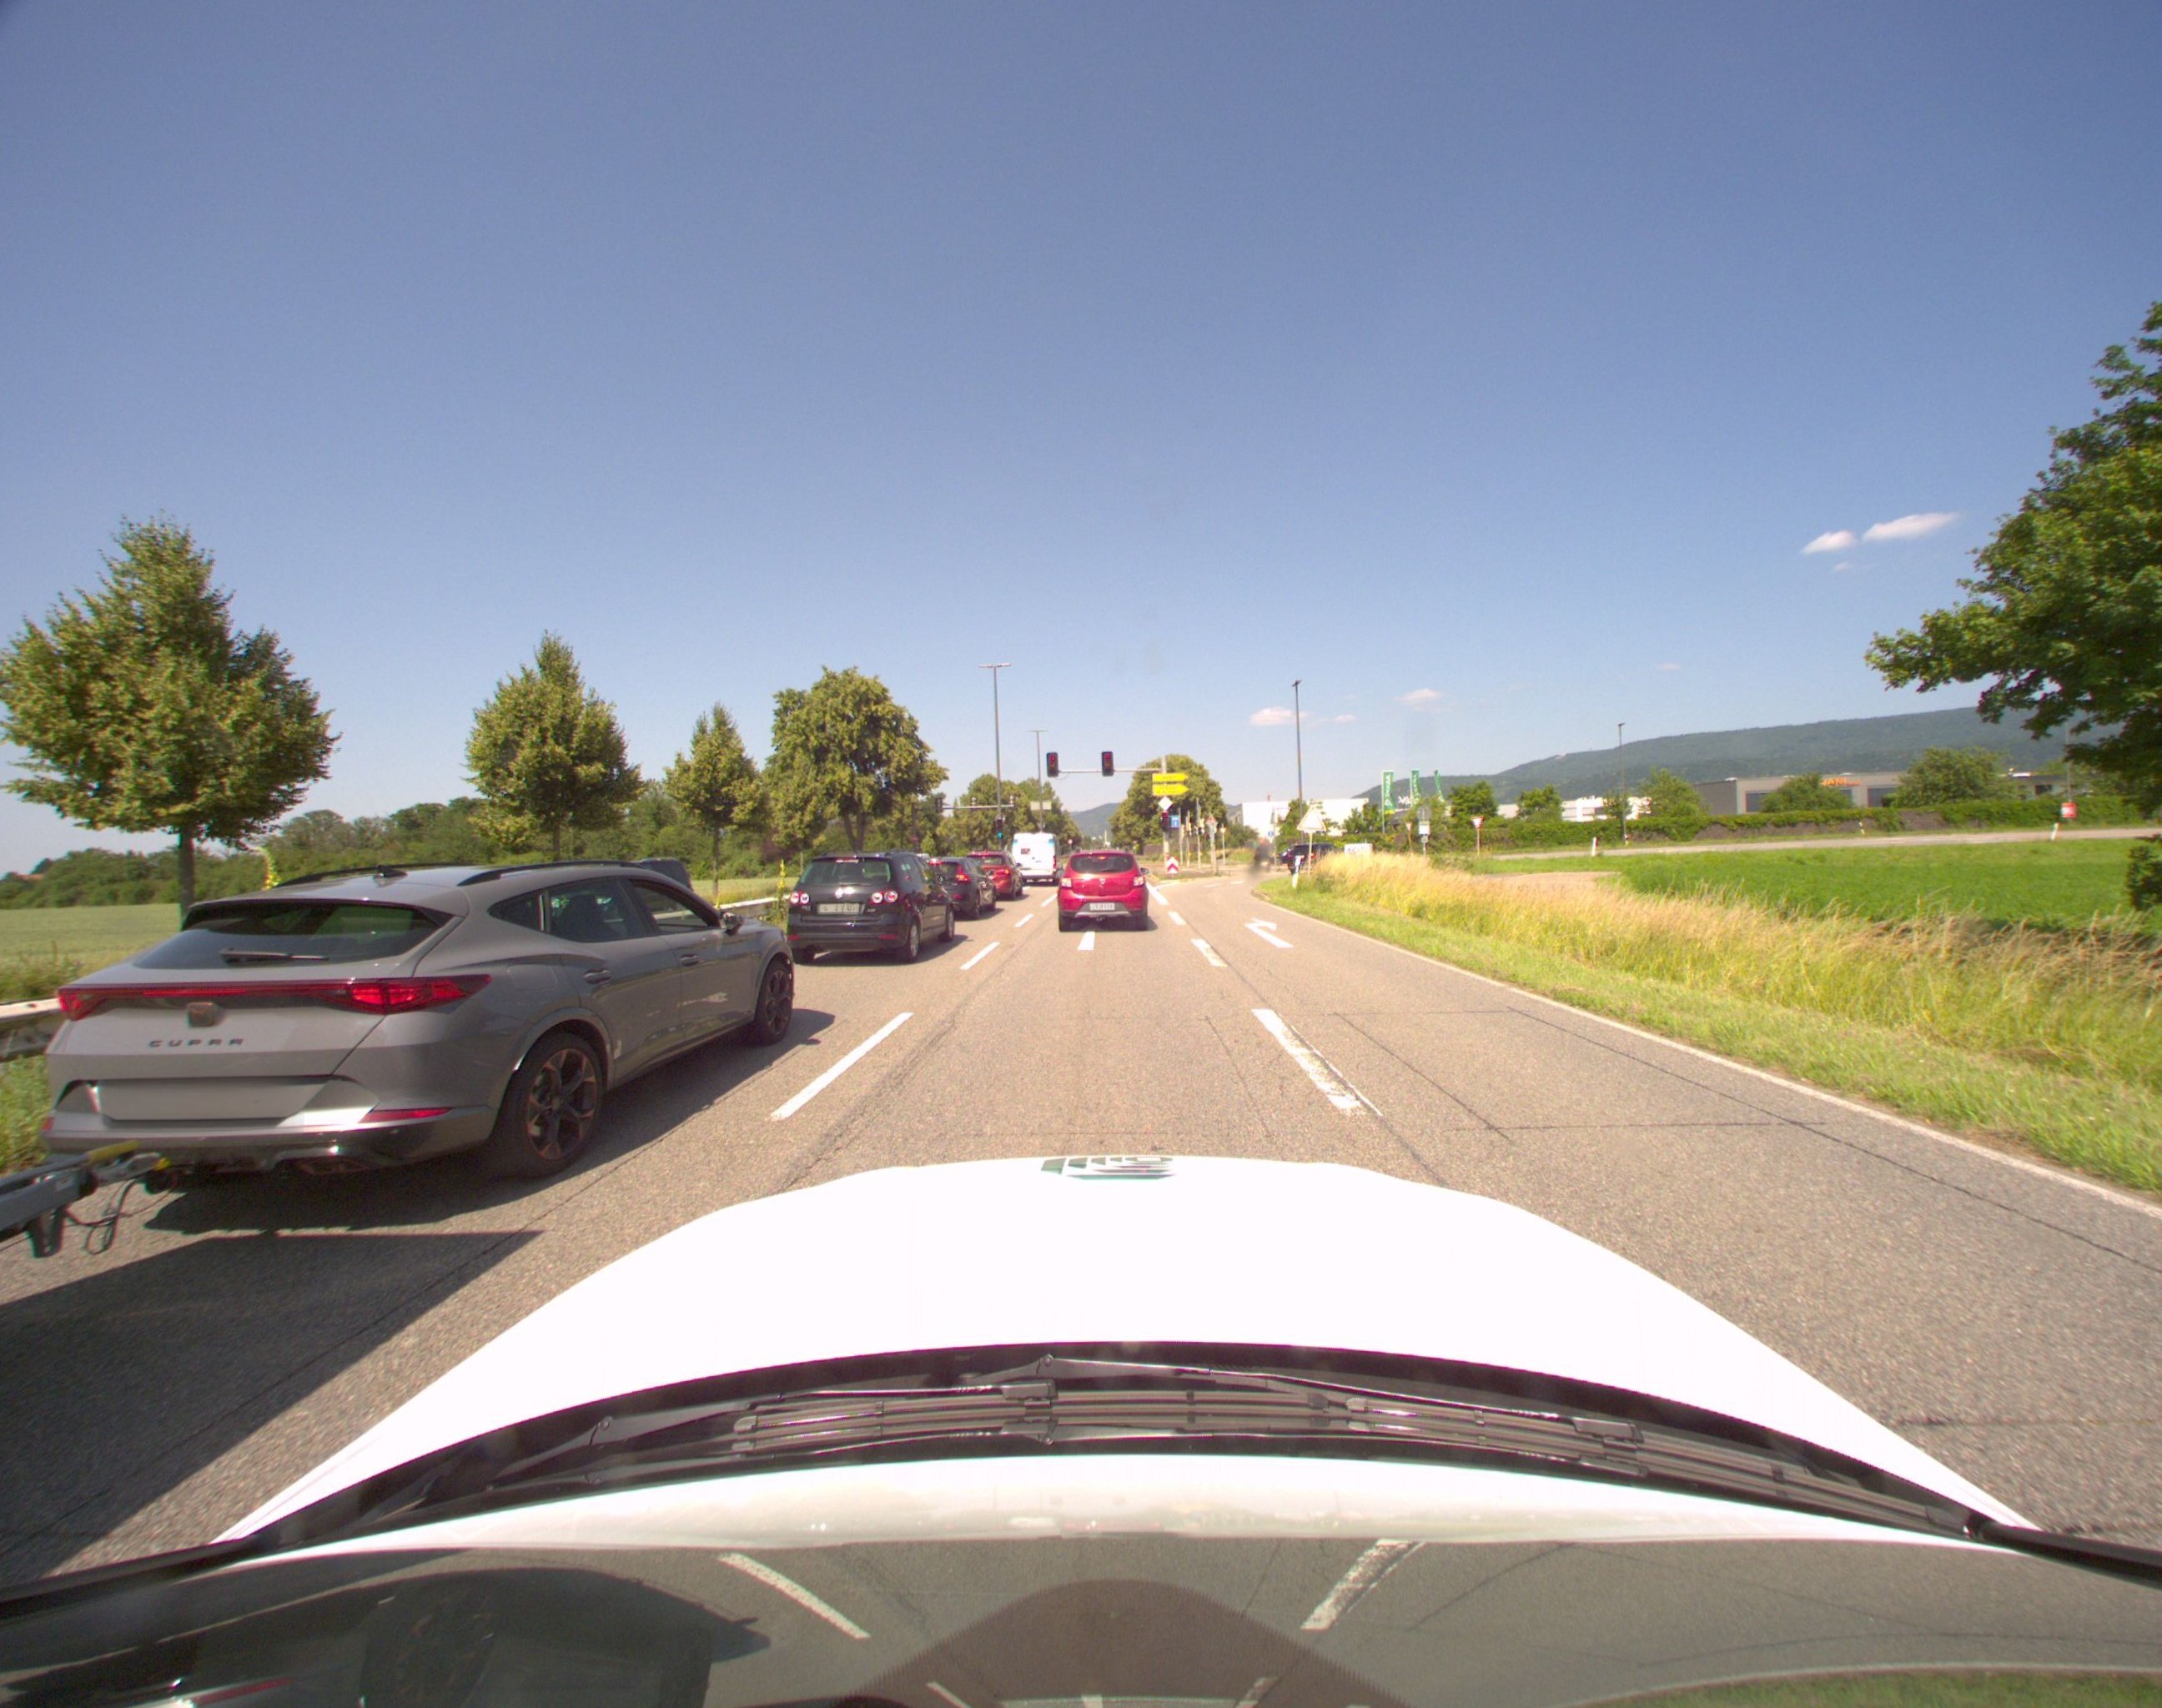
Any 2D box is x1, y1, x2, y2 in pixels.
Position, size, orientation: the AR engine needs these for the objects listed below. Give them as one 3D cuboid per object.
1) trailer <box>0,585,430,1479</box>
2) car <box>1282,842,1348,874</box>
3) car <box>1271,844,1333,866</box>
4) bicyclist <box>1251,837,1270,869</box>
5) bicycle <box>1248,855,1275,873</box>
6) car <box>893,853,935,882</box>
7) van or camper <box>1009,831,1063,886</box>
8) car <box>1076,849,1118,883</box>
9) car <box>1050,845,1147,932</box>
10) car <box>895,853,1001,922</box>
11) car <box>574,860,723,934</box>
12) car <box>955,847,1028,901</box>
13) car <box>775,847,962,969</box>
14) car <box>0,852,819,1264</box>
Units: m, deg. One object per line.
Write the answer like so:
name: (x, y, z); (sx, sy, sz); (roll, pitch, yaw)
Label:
trailer: (-3.407, 0.445, 1.146); (1.495, 2.173, 4.176); (-1, 0, 2)
car: (12.502, 0.198, 43.336); (1.974, 1.616, 4.367); (-1, 0, 36)
car: (15.155, 0.084, 56.003); (3.964, 1.327, 1.811); (-2, 0, 8)
bicyclist: (10.201, -0.055, 46.282); (0.800, 1.771, 0.807); (-2, 0, -4)
bicycle: (10.246, 0.554, 46.337); (0.760, 0.915, 2.776); (-2, 0, -4)
car: (-12.419, 0.957, 60.889); (1.987, 1.931, 5.016); (-2, 0, 1)
van or camper: (-1.963, 0.171, 37.000); (2.172, 2.302, 4.825); (-1, 0, 0)
car: (0.766, 0.527, 37.576); (1.742, 1.458, 3.680); (-1, 0, 3)
car: (0.435, 0.624, 16.735); (1.742, 1.575, 3.680); (-1, 0, 3)
car: (-3.070, 0.725, 19.572); (1.695, 1.442, 3.958); (0, 1, 3)
car: (-12.728, 1.173, 24.379); (1.851, 1.855, 4.697); (-2, 0, 1)
car: (-2.828, 0.587, 26.564); (1.717, 1.600, 3.958); (-1, 0, 3)
car: (-3.087, 0.702, 12.682); (1.716, 1.575, 3.895); (-1, 1, 3)
car: (-3.338, 0.770, 5.256); (1.739, 1.503, 4.365); (-1, 1, 2)
